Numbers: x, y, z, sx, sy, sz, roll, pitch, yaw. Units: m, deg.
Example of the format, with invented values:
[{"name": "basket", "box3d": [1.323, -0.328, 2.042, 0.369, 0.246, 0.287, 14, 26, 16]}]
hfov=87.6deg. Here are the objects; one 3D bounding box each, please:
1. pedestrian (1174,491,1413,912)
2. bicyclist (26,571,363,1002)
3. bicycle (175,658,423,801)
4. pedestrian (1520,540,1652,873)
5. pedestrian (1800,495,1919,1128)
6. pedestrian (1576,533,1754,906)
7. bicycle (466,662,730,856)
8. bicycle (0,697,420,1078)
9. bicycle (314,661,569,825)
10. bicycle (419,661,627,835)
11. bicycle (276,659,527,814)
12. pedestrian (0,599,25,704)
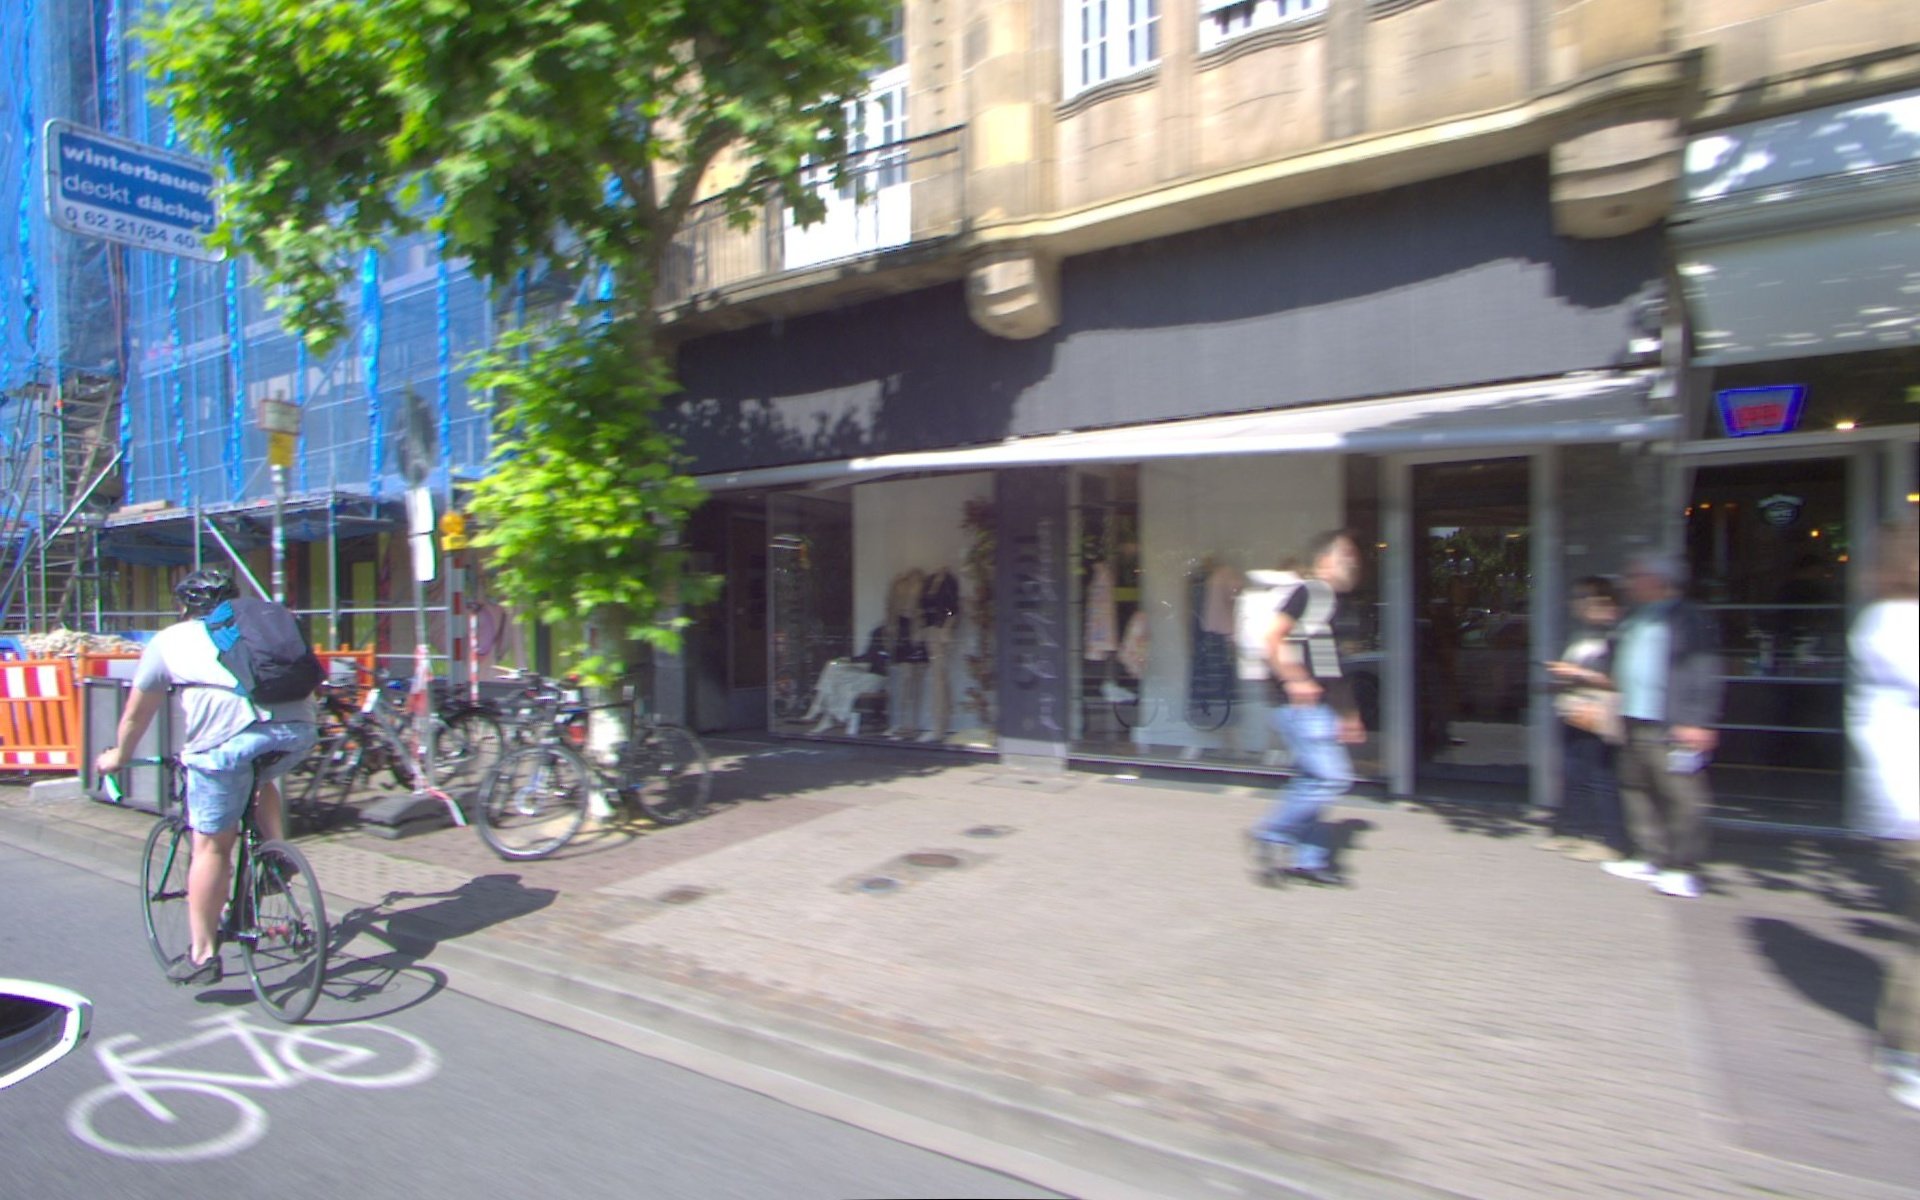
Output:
[{"name": "pedestrian", "box3d": [1.684, 0.455, 5.042, 0.881, 1.873, 0.810, -1, 1, 40]}, {"name": "bicyclist", "box3d": [-3.091, 0.663, 4.048, 1.126, 1.481, 0.687, -1, -2, 31]}, {"name": "bicycle", "box3d": [-5.583, 1.047, 8.576, 0.476, 1.031, 1.750, 0, -1, 30]}, {"name": "pedestrian", "box3d": [3.379, 0.547, 5.414, 0.376, 1.705, 0.474, -2, 1, -31]}, {"name": "pedestrian", "box3d": [2.868, 0.569, 2.883, 0.646, 1.705, 0.653, -1, -1, 39]}, {"name": "pedestrian", "box3d": [3.463, 0.545, 4.931, 0.492, 1.705, 0.534, -2, 1, -29]}, {"name": "bicycle", "box3d": [-2.303, 0.963, 6.602, 0.476, 1.031, 1.750, 0, -1, 30]}, {"name": "bicycle", "box3d": [-3.155, 0.996, 4.051, 2.099, 1.106, 0.733, -1, -2, 31]}, {"name": "bicycle", "box3d": [-3.879, 1.021, 7.648, 0.476, 1.031, 1.750, 0, -1, 30]}, {"name": "bicycle", "box3d": [-3.062, 0.986, 7.208, 0.473, 1.031, 1.758, 0, -1, 10]}, {"name": "bicycle", "box3d": [-4.349, 1.014, 7.937, 0.476, 1.031, 1.750, 0, -1, 30]}, {"name": "pedestrian", "box3d": [-16.653, 0.884, 17.234, 0.640, 1.798, 0.638, -1, -2, 32]}]
